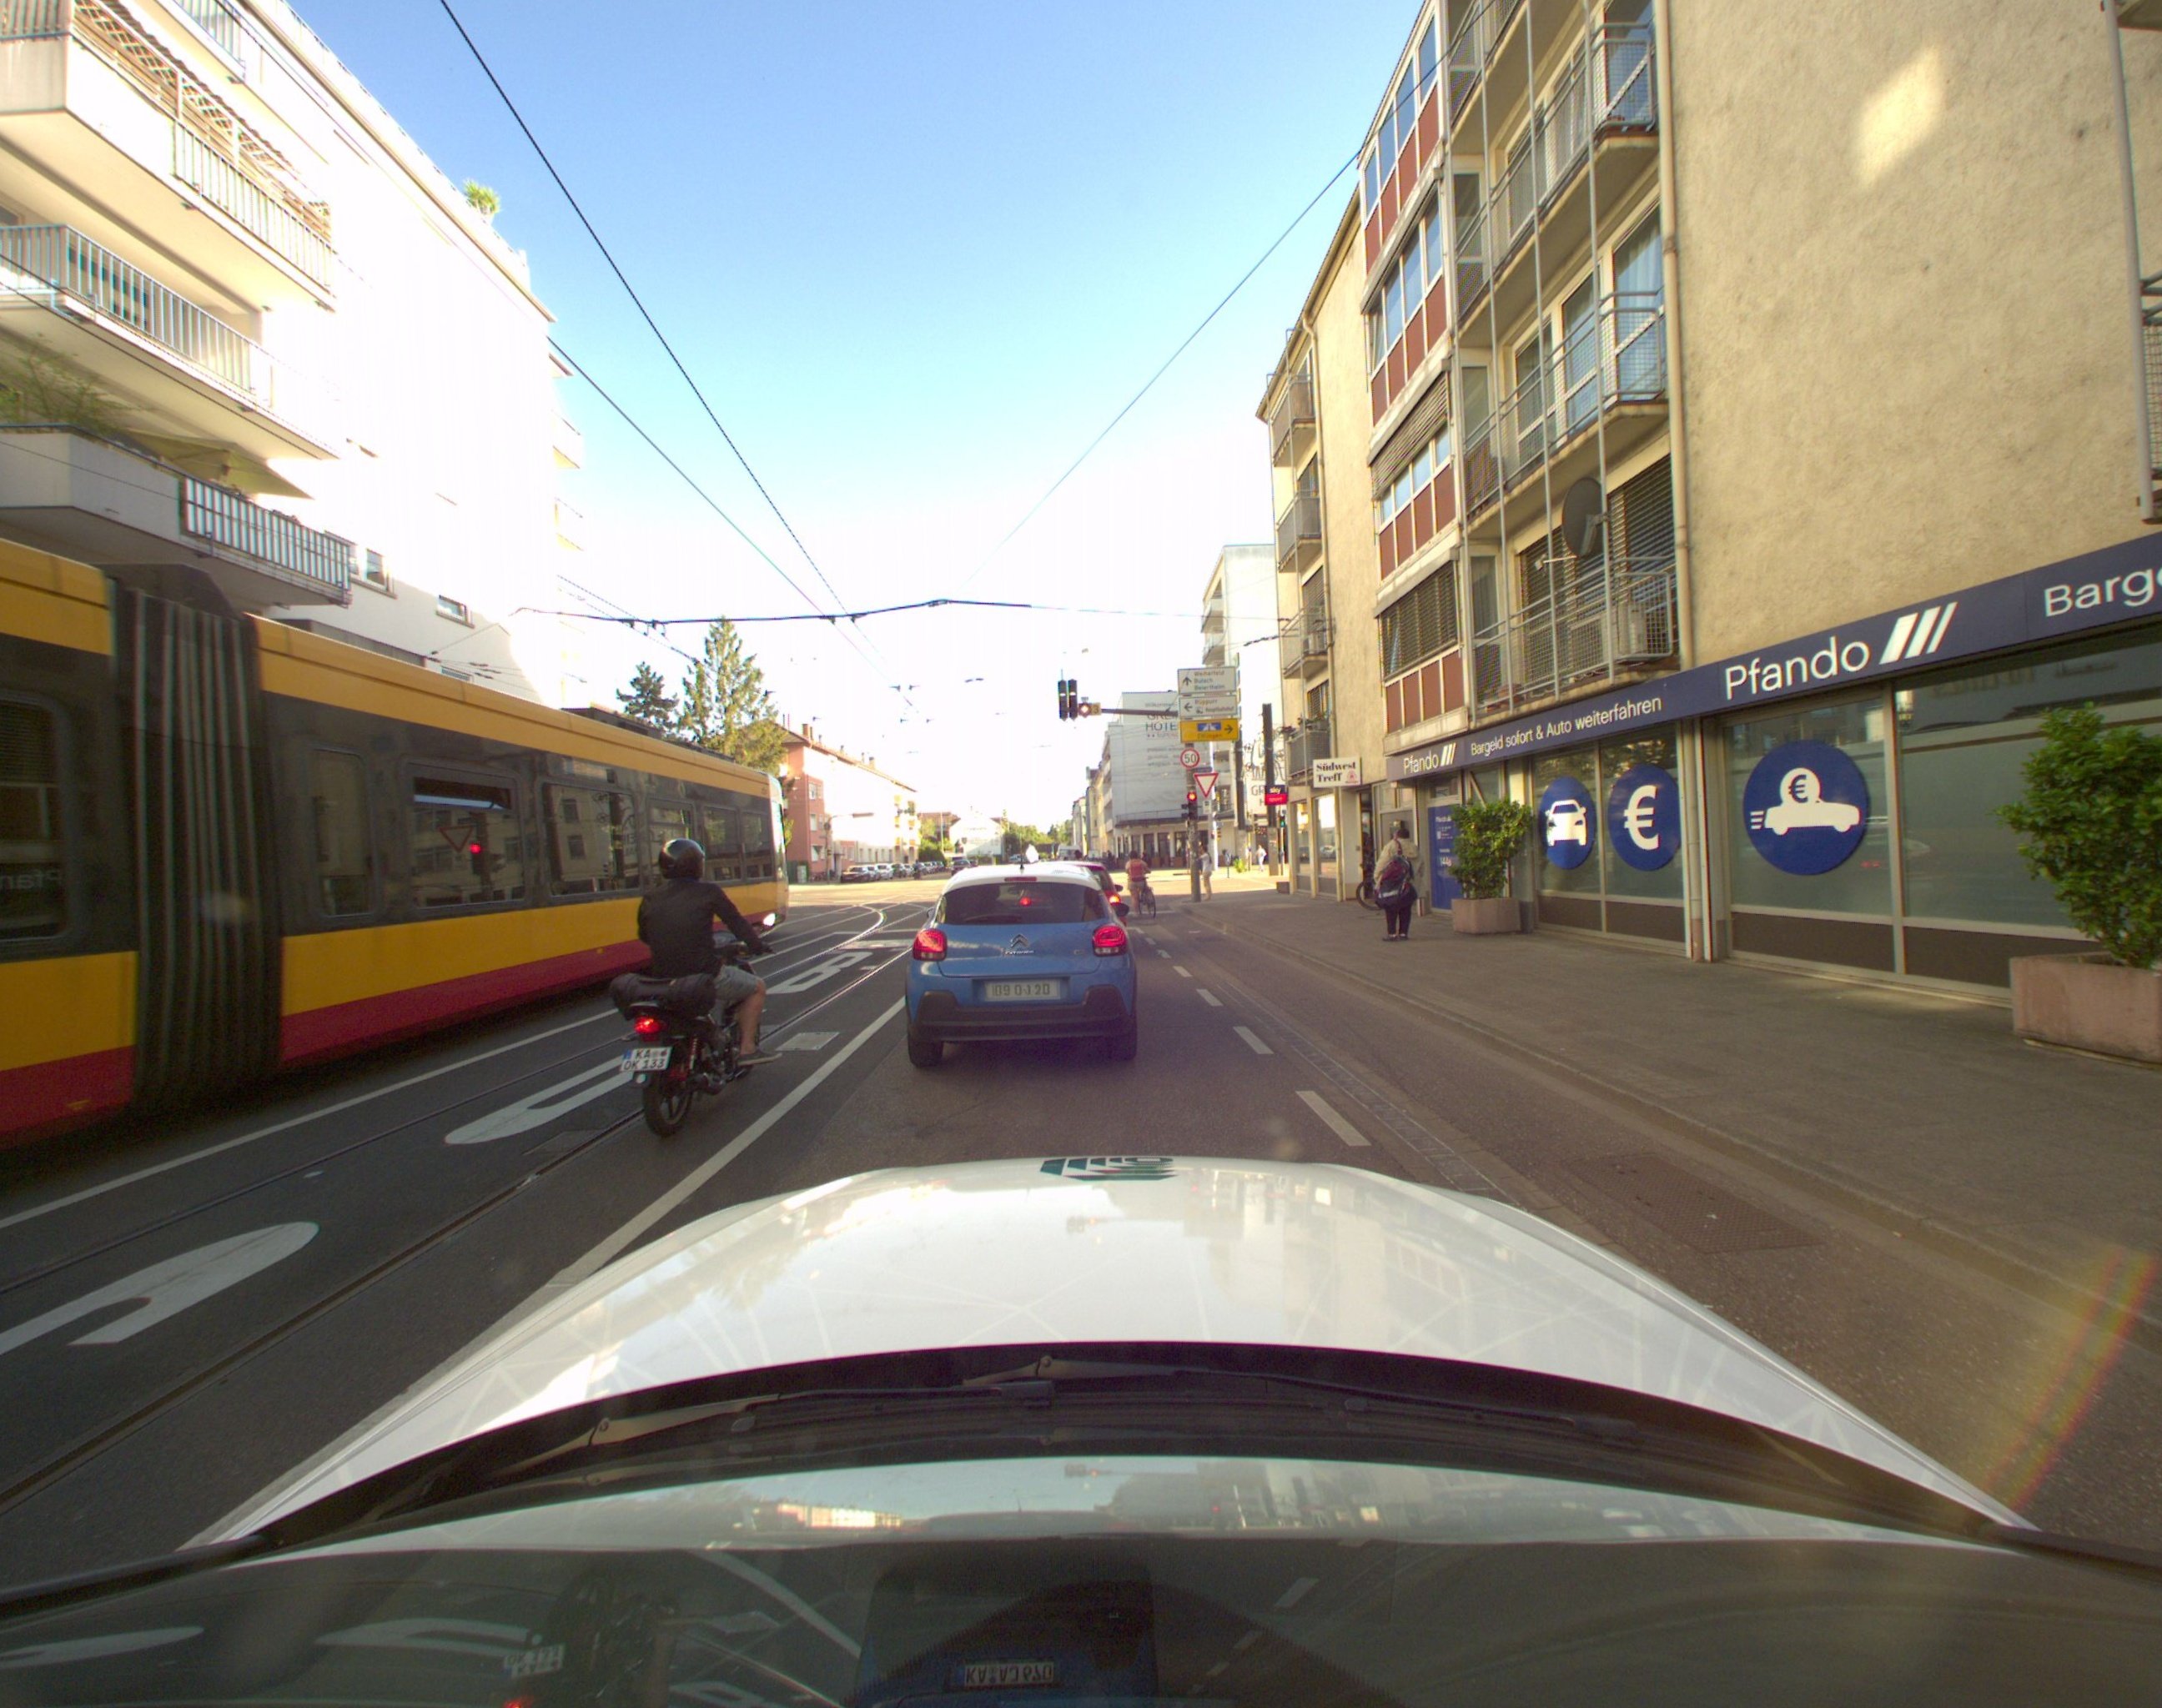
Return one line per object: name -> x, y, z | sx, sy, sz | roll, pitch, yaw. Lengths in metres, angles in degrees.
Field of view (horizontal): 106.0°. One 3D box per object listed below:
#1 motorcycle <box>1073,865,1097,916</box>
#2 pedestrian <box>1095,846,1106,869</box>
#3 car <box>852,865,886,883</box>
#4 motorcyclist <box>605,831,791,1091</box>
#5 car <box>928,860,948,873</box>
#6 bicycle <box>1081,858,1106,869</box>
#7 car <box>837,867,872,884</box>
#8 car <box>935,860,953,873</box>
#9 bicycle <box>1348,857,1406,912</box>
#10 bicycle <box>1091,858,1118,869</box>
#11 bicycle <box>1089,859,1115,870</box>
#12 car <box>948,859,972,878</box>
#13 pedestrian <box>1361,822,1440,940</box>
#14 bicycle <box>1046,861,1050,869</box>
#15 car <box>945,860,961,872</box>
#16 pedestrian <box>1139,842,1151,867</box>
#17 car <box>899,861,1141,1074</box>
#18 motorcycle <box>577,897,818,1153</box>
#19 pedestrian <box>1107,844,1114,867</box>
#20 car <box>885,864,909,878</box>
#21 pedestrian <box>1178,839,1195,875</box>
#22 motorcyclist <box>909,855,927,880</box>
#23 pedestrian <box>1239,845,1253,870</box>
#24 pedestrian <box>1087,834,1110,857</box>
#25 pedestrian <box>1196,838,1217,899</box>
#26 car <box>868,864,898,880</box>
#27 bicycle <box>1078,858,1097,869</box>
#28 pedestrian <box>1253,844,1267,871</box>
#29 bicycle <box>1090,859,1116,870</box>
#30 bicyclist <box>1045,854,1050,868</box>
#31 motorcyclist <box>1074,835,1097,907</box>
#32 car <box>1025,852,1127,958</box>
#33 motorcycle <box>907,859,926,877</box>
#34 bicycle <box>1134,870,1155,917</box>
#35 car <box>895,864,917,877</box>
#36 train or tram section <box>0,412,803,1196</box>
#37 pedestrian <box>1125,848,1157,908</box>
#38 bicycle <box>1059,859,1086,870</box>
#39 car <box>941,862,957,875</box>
motorcycle -> 0.111, 0.834, 19.575 | 0.524, 1.139, 2.290 | 0, -1, 2
pedestrian -> 1.694, 0.306, 69.369 | 0.635, 2.014, 0.717 | 0, -1, -34
car -> -19.163, 1.778, 73.911 | 1.808, 1.498, 4.302 | 0, 0, 2
motorcyclist -> -2.335, 0.622, 5.036 | 0.857, 1.505, 0.598 | 0, -1, 1
car -> -18.737, 1.674, 107.060 | 1.978, 1.687, 3.998 | 0, -1, -1
bicycle -> 1.051, 0.817, 68.498 | 2.130, 0.901, 0.366 | 0, -1, -7
car -> -19.261, 1.812, 69.431 | 1.787, 1.421, 3.996 | 0, 0, 1
car -> -18.858, 1.679, 111.969 | 1.877, 1.687, 3.998 | 0, -1, -1
bicycle -> 5.692, 0.561, 15.755 | 0.540, 0.998, 1.706 | 0, -1, 2
bicycle -> 1.897, 0.766, 66.022 | 2.130, 0.901, 0.366 | 0, -1, -7
bicycle -> 1.751, 0.846, 67.786 | 2.130, 0.901, 0.366 | 0, -1, -7
car -> -11.370, 1.339, 76.844 | 1.770, 1.666, 3.854 | 0, -1, -2
pedestrian -> 4.461, 0.369, 11.427 | 0.822, 1.593, 0.751 | 0, -1, 1
bicycle -> -3.787, 1.213, 93.150 | 0.347, 0.903, 1.859 | 0, -1, 0
car -> -19.189, 1.762, 121.982 | 1.841, 1.687, 3.872 | 0, -1, -1
pedestrian -> 5.255, 0.042, 66.965 | 0.715, 2.014, 0.750 | 0, -1, -41
car -> -0.360, 0.788, 7.325 | 1.648, 1.444, 3.524 | 0, -1, 2
motorcycle -> -2.294, 0.933, 5.175 | 0.535, 1.219, 1.982 | 0, -1, 2
pedestrian -> 2.513, 0.140, 70.311 | 0.575, 2.014, 0.625 | 0, -1, -1
car -> -19.557, 1.777, 86.678 | 1.781, 1.498, 3.998 | 0, -1, -1
pedestrian -> 6.068, 0.168, 46.939 | 0.922, 2.014, 0.760 | 0, -1, 1
motorcyclist -> -13.586, 1.079, 67.755 | 1.182, 2.013, 1.275 | -2, 0, -1
pedestrian -> 10.352, 0.218, 51.085 | 0.733, 1.601, 0.749 | 0, -1, 3
pedestrian -> 1.630, -0.731, 73.708 | 1.986, 2.014, 4.001 | 0, -1, 2
pedestrian -> 3.722, 0.437, 24.239 | 0.515, 1.783, 0.595 | 0, -1, 0
car -> -19.385, 1.741, 79.880 | 1.781, 1.511, 4.150 | 0, -1, 1
bicycle -> 0.572, 0.816, 69.497 | 1.765, 0.901, 0.369 | -1, -1, 36
pedestrian -> 10.805, 0.212, 49.137 | 0.746, 1.657, 0.887 | -1, -1, 18
bicycle -> 1.804, 0.863, 67.353 | 2.130, 0.901, 0.366 | 0, -1, -7
bicyclist -> -3.794, 0.798, 92.986 | 0.560, 1.477, 0.746 | 0, -1, -5
motorcyclist -> 0.118, 0.400, 19.767 | 0.524, 1.716, 0.717 | 0, -1, 2
car -> -0.029, 0.749, 13.227 | 1.419, 1.467, 2.925 | -2, -1, 2
motorcycle -> -13.606, 1.159, 67.535 | 0.921, 1.486, 3.724 | 0, -1, -1
bicycle -> 1.604, 0.973, 20.622 | 0.426, 1.123, 1.999 | 0, -1, 2
car -> -19.945, 1.848, 92.809 | 1.728, 1.498, 3.996 | 0, -1, -2
train or tram section -> -6.867, -0.168, 10.426 | 2.740, 3.632, 14.242 | 0, 0, -4
pedestrian -> 1.494, 0.593, 20.323 | 0.774, 1.460, 0.682 | 0, -1, 1
bicycle -> -0.710, 0.874, 66.407 | 2.130, 0.901, 0.366 | 0, -1, -7
car -> -18.974, 2.075, 117.272 | 1.828, 1.687, 3.998 | 0, -1, -1
